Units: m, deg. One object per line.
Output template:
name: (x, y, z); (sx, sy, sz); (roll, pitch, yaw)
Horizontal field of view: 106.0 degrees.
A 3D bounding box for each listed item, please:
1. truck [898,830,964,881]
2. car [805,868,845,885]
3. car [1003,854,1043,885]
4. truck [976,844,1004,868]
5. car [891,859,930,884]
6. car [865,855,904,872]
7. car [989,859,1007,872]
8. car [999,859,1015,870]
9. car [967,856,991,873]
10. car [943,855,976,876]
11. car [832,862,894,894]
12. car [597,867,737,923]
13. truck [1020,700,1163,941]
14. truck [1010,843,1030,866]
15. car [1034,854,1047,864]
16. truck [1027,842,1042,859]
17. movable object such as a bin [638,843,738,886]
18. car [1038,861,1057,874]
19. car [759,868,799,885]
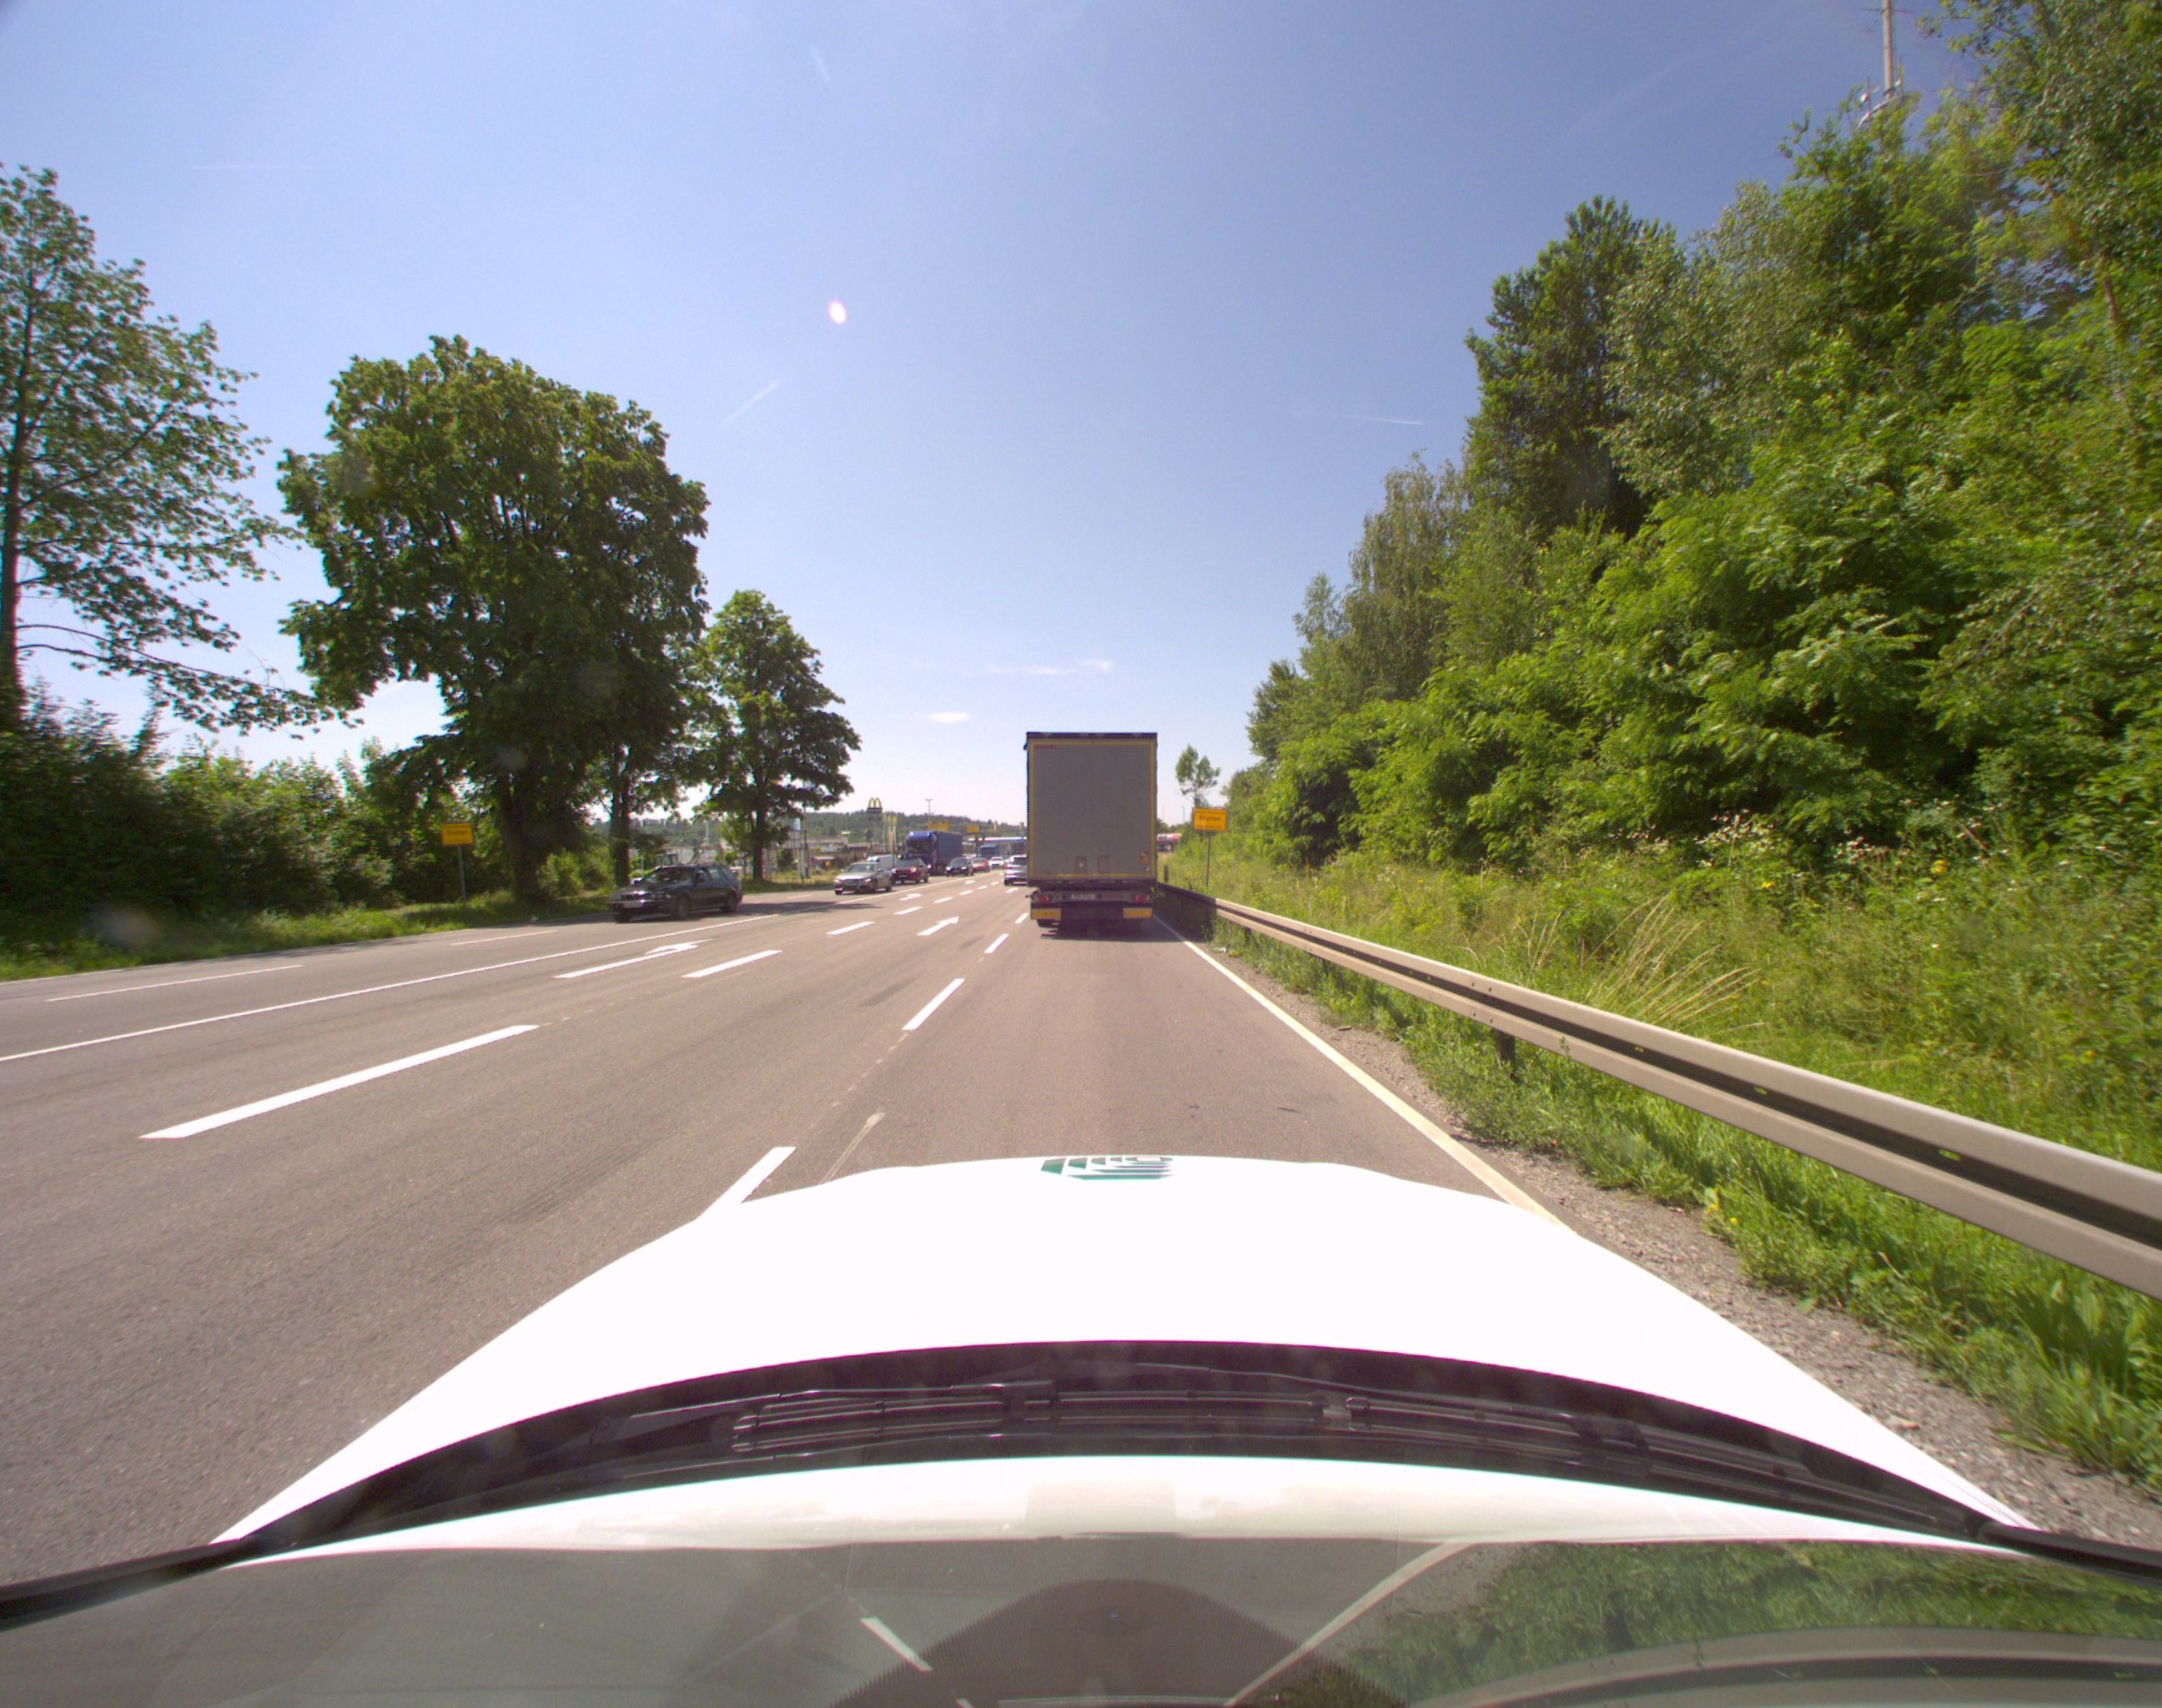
truck: (-13.854, 0.175, 77.064); (2.958, 4.177, 16.574); (-2, 0, 1)
car: (-25.438, 2.255, 80.796); (3.948, 1.618, 1.852); (-1, -1, 38)
car: (-3.232, 0.870, 46.187); (1.798, 1.670, 4.293); (0, 0, 2)
truck: (-13.268, 0.328, 119.612); (2.837, 3.351, 11.479); (-1, 0, 0)
car: (-10.593, 1.052, 50.846); (1.637, 1.438, 4.014); (-1, 0, -2)
car: (-26.634, 1.332, 110.406); (1.974, 2.183, 5.226); (-2, 0, 33)
car: (-9.650, 1.295, 94.914); (1.695, 1.415, 4.560); (-1, 0, -1)
car: (-10.028, 1.427, 110.125); (1.755, 1.428, 4.180); (-1, 0, 0)
car: (-9.940, 0.996, 79.783); (1.761, 1.445, 3.775); (-5, 0, 0)
car: (-9.929, 0.918, 66.854); (1.912, 1.480, 4.687); (-5, -1, 0)
car: (-9.948, 1.073, 37.407); (1.761, 1.386, 3.999); (0, -1, 0)
car: (-11.148, 1.062, 22.265); (1.761, 1.386, 3.999); (0, -1, 0)
truck: (0.435, -0.508, 23.995); (2.745, 4.639, 16.659); (0, -1, 2)
truck: (-11.981, 0.116, 161.966); (3.138, 4.349, 17.527); (-1, 0, -2)
car: (-8.437, 1.136, 168.906); (2.483, 2.014, 5.525); (0, -1, -1)
truck: (-11.325, -0.832, 199.388); (2.926, 3.950, 14.229); (-1, 0, -1)
movable object such as a bin: (-32.579, 0.813, 67.753); (3.013, 3.298, 6.834); (-2, 0, 41)
car: (-3.751, 1.534, 91.618); (1.679, 1.398, 4.405); (-1, -1, 2)
car: (-29.338, 2.205, 79.146); (3.948, 1.618, 1.852); (-1, -1, 38)
